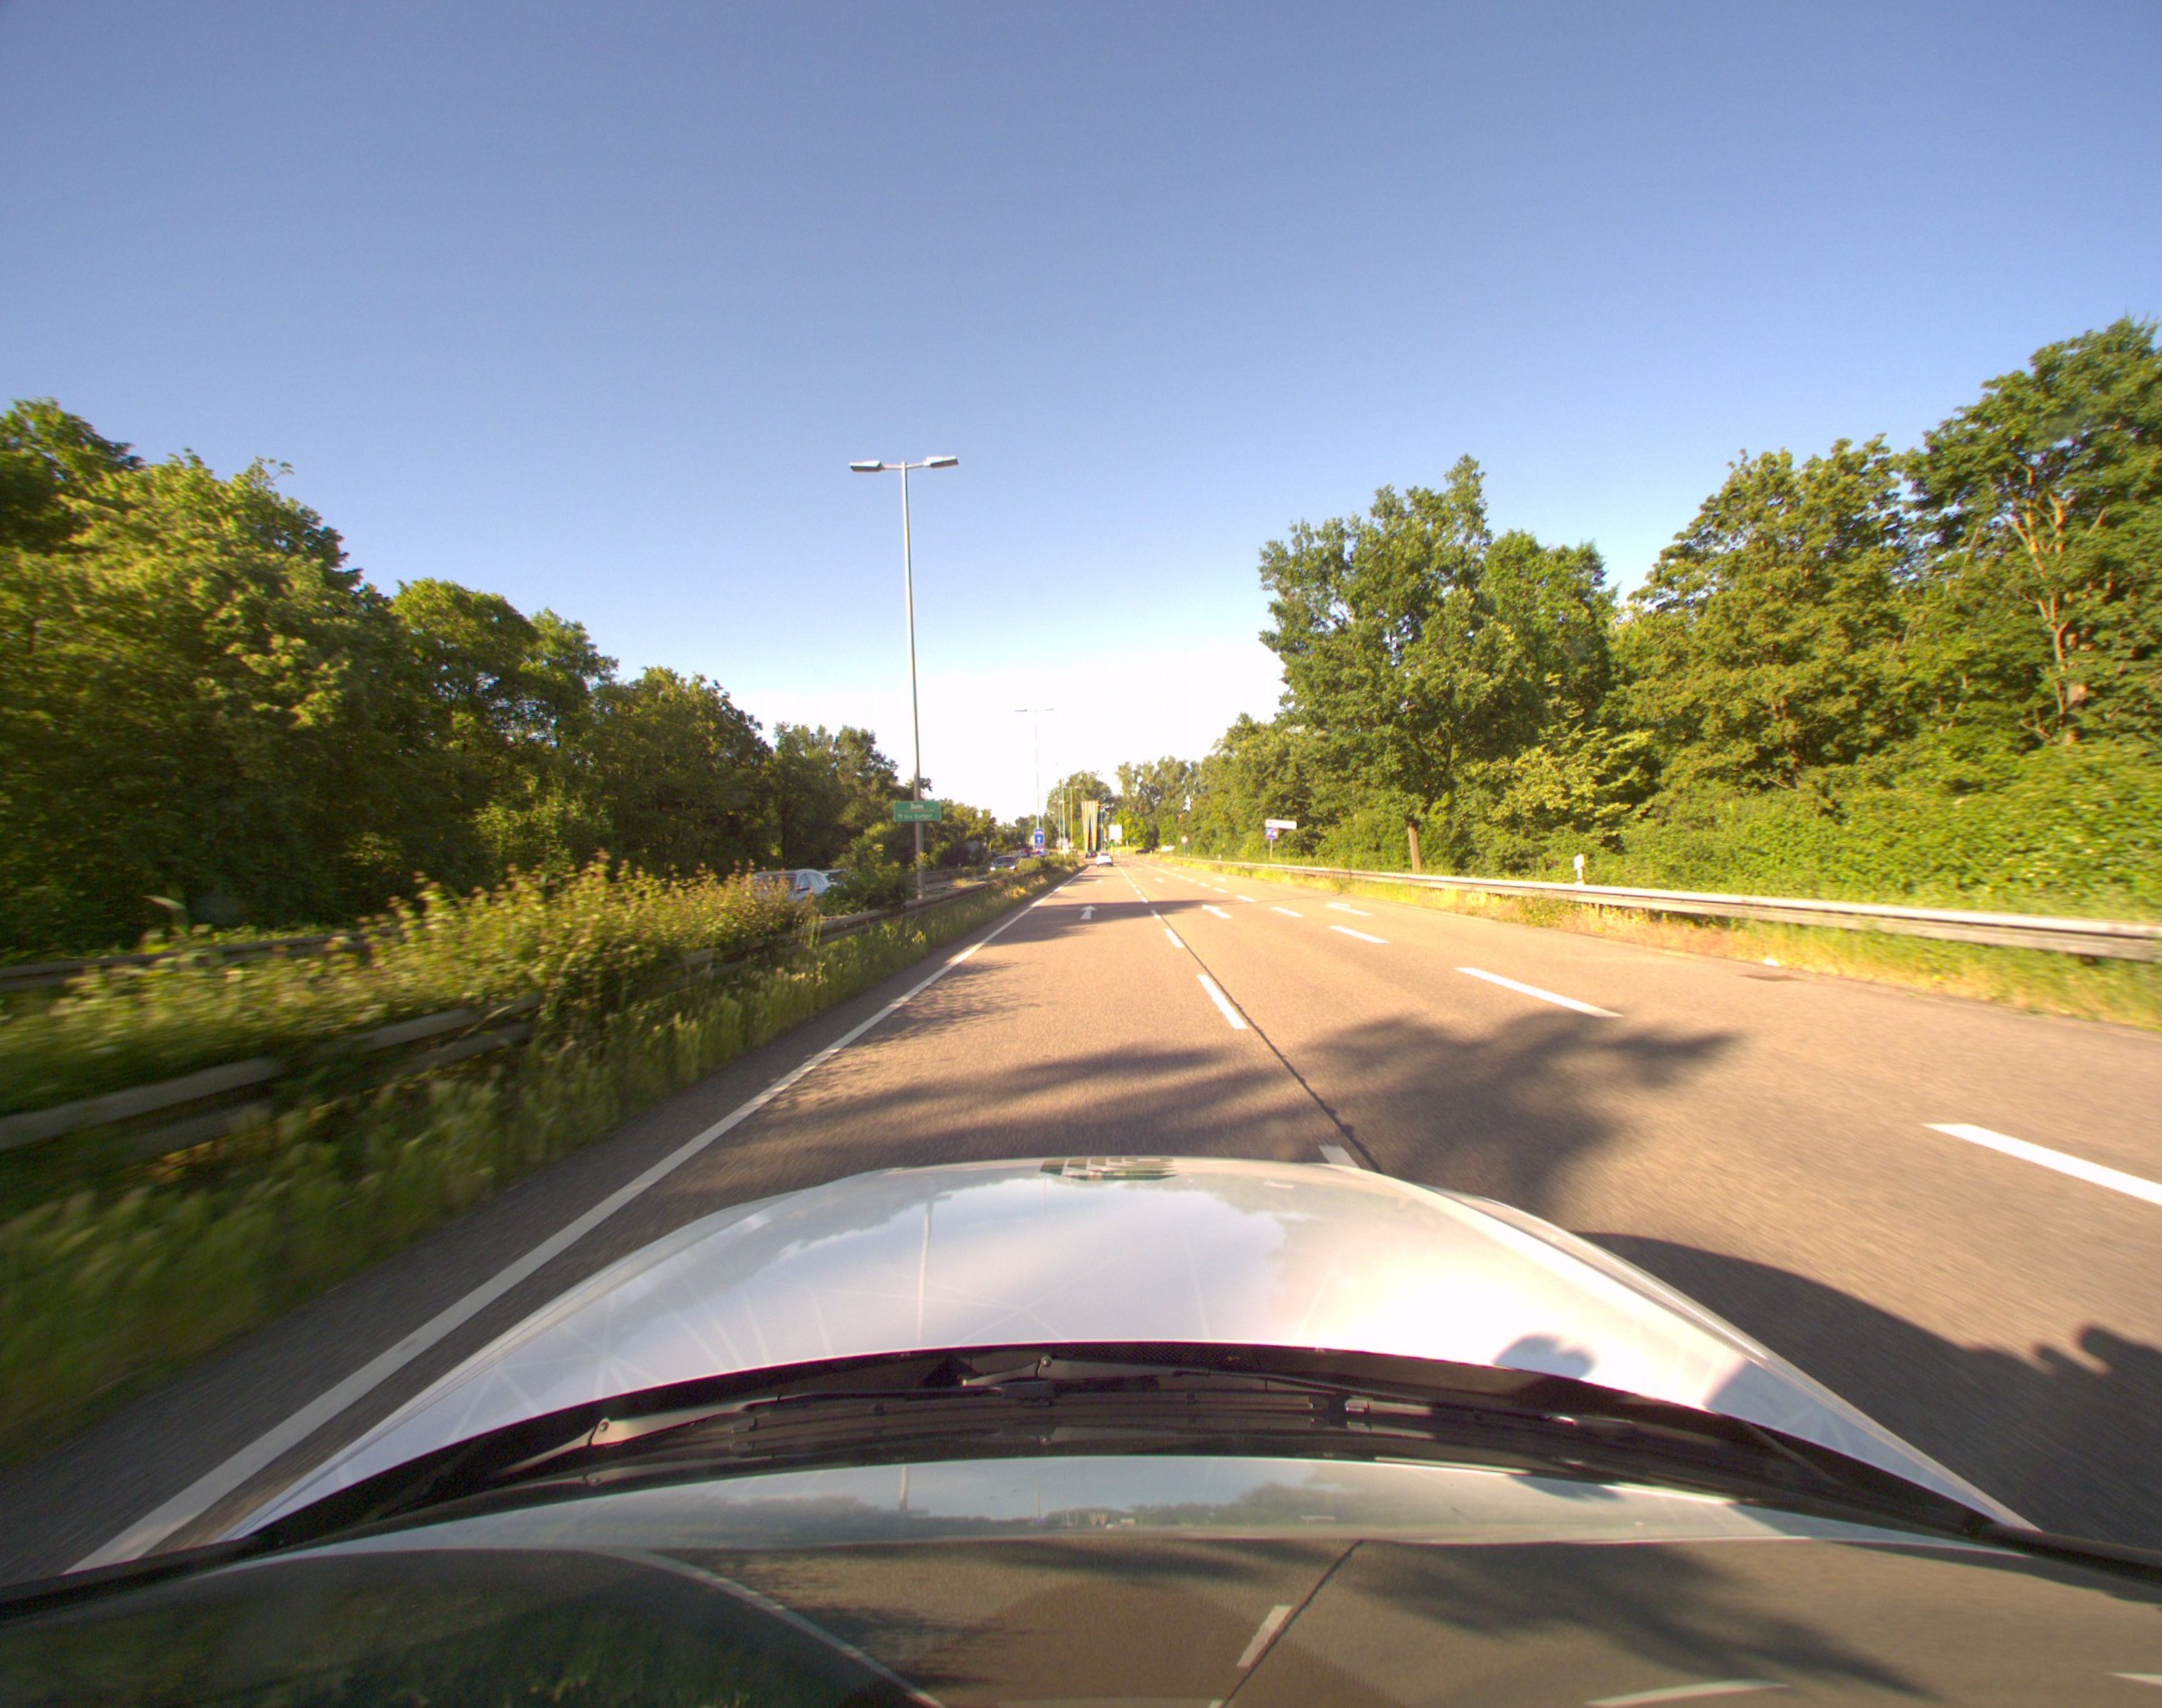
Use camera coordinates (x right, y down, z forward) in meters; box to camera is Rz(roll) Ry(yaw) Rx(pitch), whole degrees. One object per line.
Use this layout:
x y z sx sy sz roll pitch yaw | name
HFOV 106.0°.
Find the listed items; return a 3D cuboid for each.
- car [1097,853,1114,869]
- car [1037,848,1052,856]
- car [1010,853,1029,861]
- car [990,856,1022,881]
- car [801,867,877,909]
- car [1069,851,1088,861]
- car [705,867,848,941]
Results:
2.874 0.808 96.574 1.986 1.640 4.129 -3 0 1 | car
-7.540 -0.452 170.187 1.976 1.698 3.973 -3 1 -20 | car
-13.494 0.646 179.258 2.286 1.508 3.952 -2 0 -41 | car
-5.530 1.052 60.382 1.778 1.710 4.548 -2 0 2 | car
-9.697 1.329 32.920 1.744 1.450 3.717 -4 0 3 | car
-0.479 0.383 152.250 2.001 1.879 4.220 -3 0 -20 | car
-7.198 1.116 19.762 1.745 1.450 4.431 -2 0 0 | car
